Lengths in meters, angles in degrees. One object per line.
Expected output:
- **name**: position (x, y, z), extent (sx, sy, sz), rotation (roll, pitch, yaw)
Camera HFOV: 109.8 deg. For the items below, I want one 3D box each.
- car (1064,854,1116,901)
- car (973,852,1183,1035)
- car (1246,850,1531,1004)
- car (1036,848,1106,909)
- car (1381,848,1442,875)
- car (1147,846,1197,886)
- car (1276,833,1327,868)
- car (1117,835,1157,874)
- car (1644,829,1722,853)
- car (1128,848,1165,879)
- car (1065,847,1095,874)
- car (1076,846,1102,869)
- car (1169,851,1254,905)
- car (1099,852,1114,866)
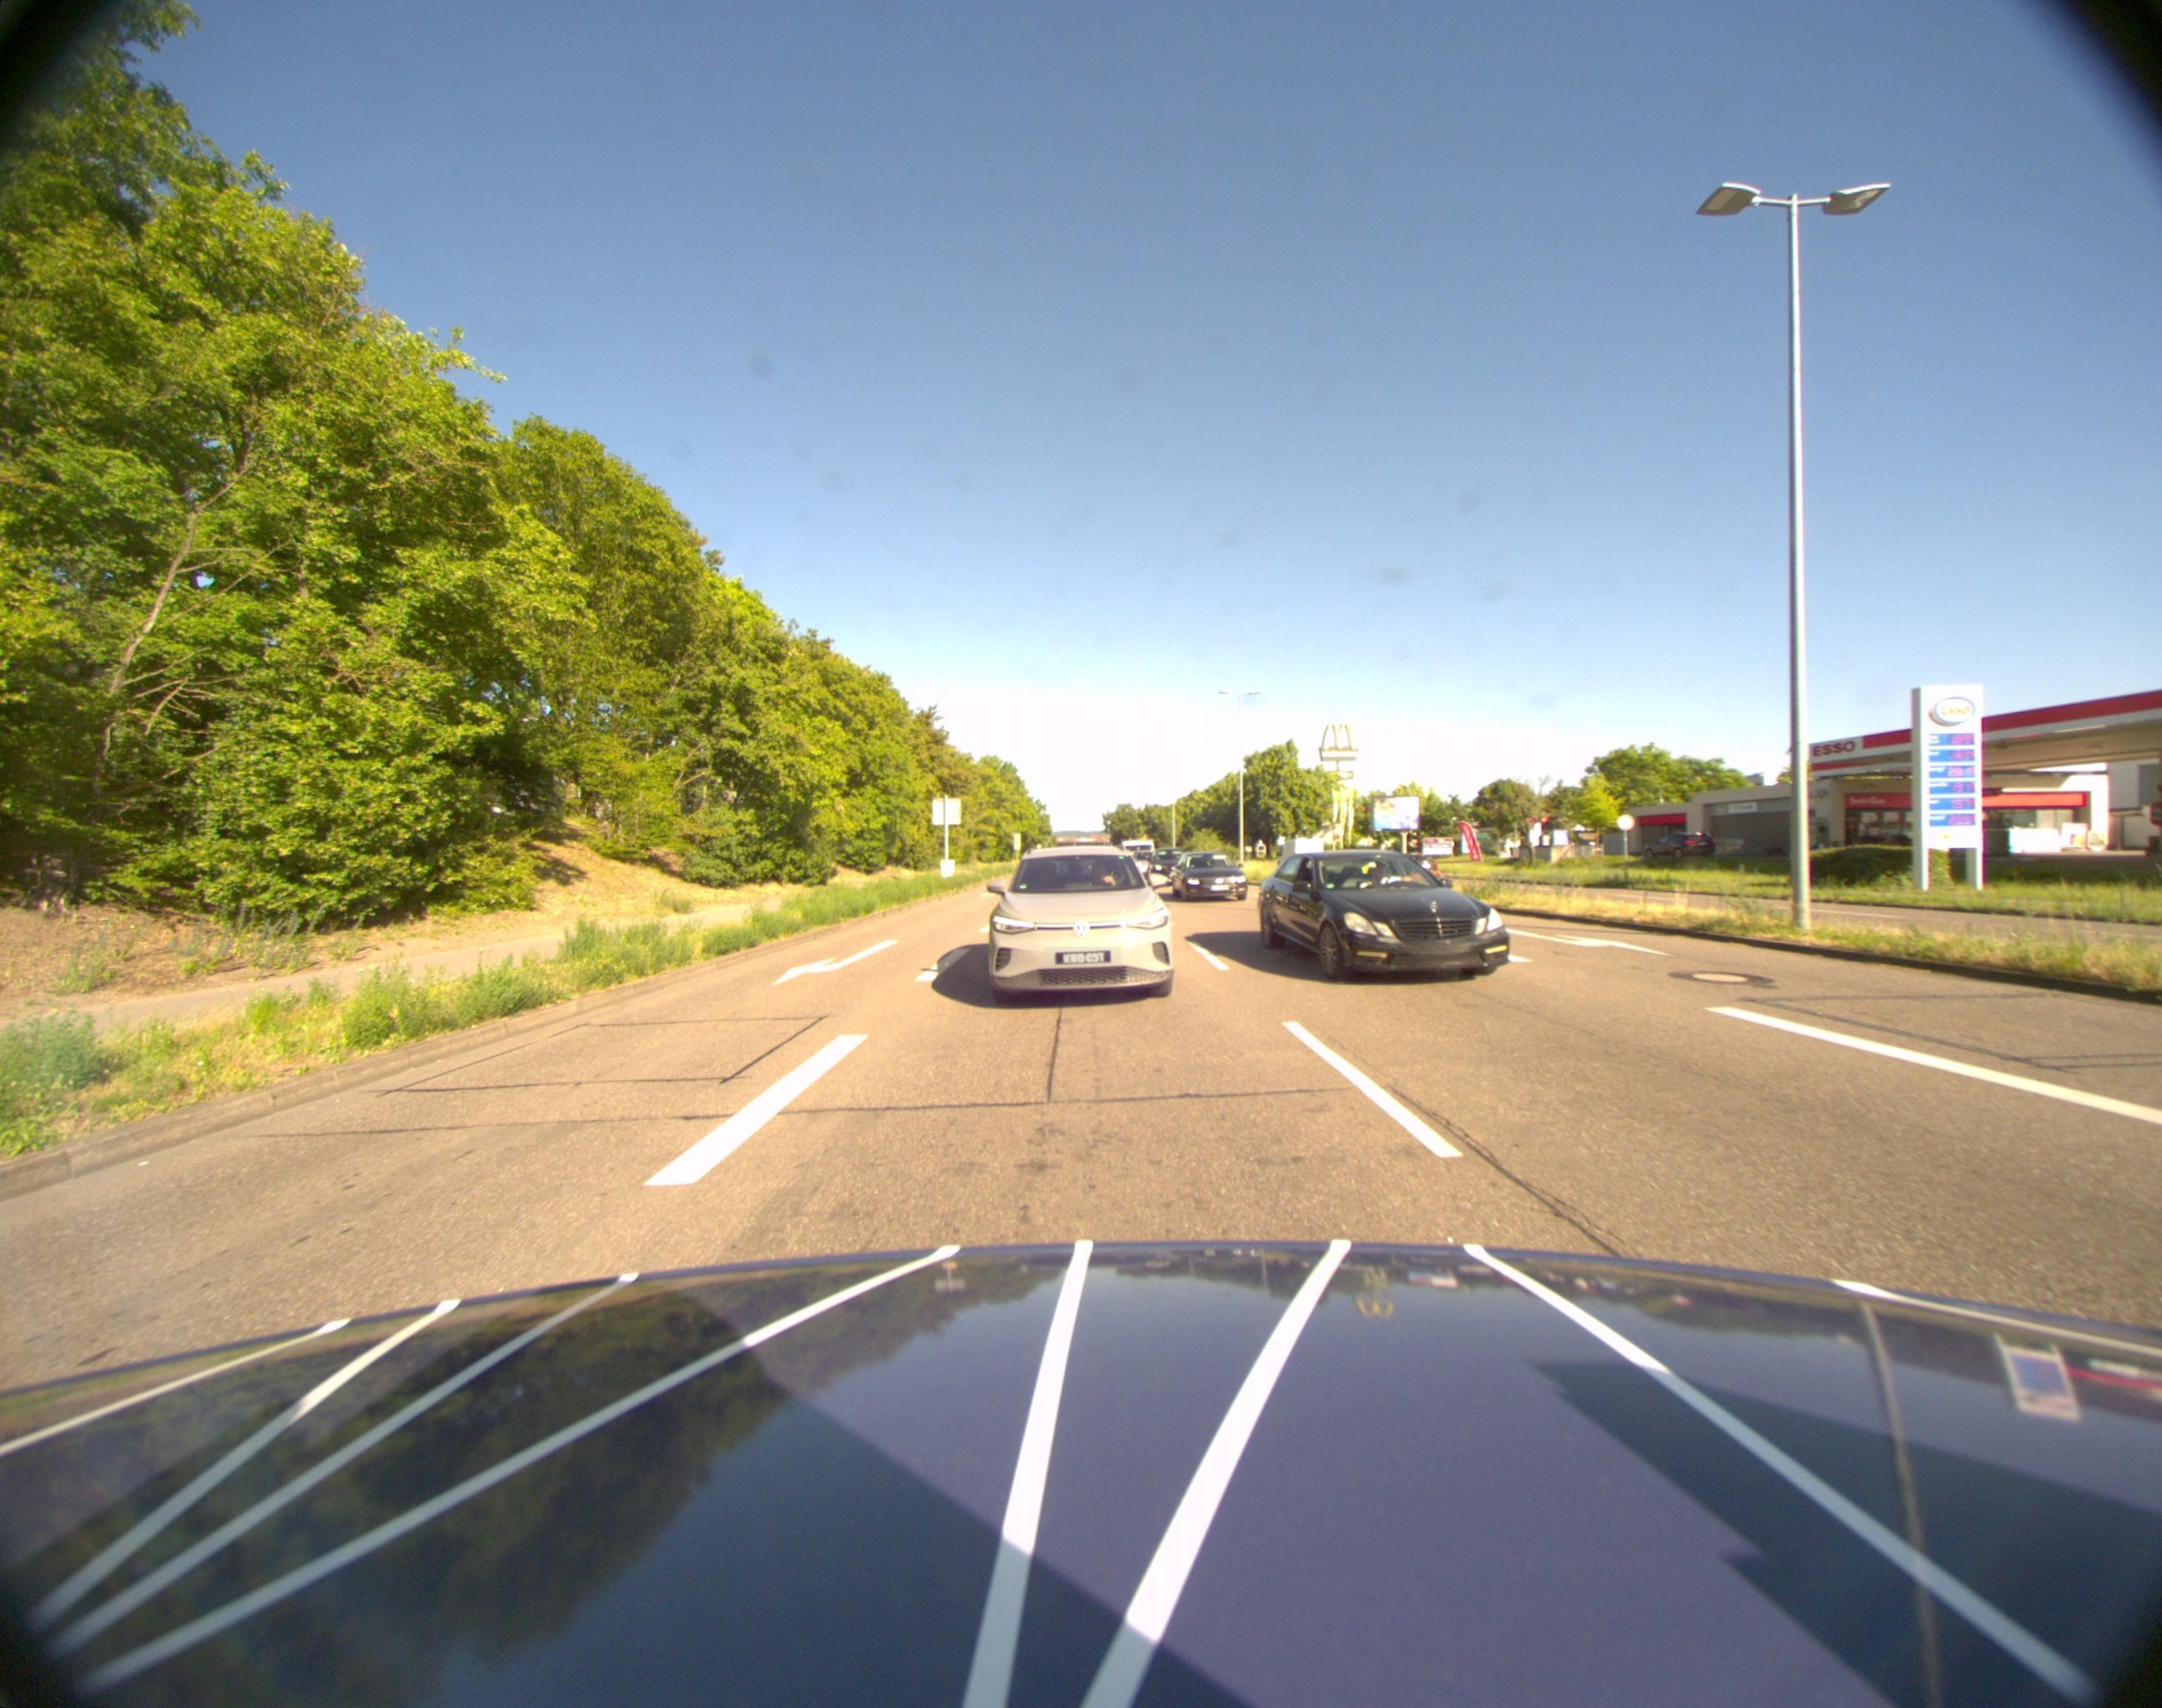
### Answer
- **car**: position (0.298, 0.819, 28.568), extent (1.763, 1.482, 4.402), rotation (-2, 1, 0)
- **car**: position (-0.040, 0.814, 9.152), extent (1.862, 1.574, 4.402), rotation (-2, 1, 0)
- **car**: position (3.598, 0.735, 9.899), extent (1.868, 1.430, 4.402), rotation (-2, 1, 0)
- **car**: position (-0.273, 0.609, 22.027), extent (1.763, 1.482, 4.402), rotation (-2, 1, 0)
- **car**: position (20.095, 0.419, 46.364), extent (1.763, 1.482, 4.477), rotation (2, 1, 1)
- **car**: position (3.939, 0.486, 33.484), extent (1.674, 1.608, 3.878), rotation (-2, 1, 0)
- **car**: position (16.452, -0.282, 57.064), extent (2.027, 2.433, 5.820), rotation (2, 1, 0)
- **car**: position (3.601, 0.005, 49.781), extent (2.020, 2.349, 6.523), rotation (-2, 1, 0)
- **car**: position (37.536, -0.828, 47.498), extent (1.683, 1.401, 3.977), rotation (0, 1, 0)
- **car**: position (3.548, 0.473, 41.621), extent (1.635, 1.547, 3.776), rotation (-2, 1, 0)
- **car**: position (-0.086, 0.354, 47.456), extent (1.763, 1.482, 4.402), rotation (-2, 1, 0)
- **car**: position (0.536, 0.216, 54.622), extent (1.763, 1.482, 4.402), rotation (-2, 1, 0)
- **car**: position (3.900, 0.673, 23.400), extent (1.797, 1.419, 4.286), rotation (-2, 1, 0)
- **car**: position (3.198, 0.593, 95.903), extent (1.763, 1.607, 4.402), rotation (-2, 1, 0)
